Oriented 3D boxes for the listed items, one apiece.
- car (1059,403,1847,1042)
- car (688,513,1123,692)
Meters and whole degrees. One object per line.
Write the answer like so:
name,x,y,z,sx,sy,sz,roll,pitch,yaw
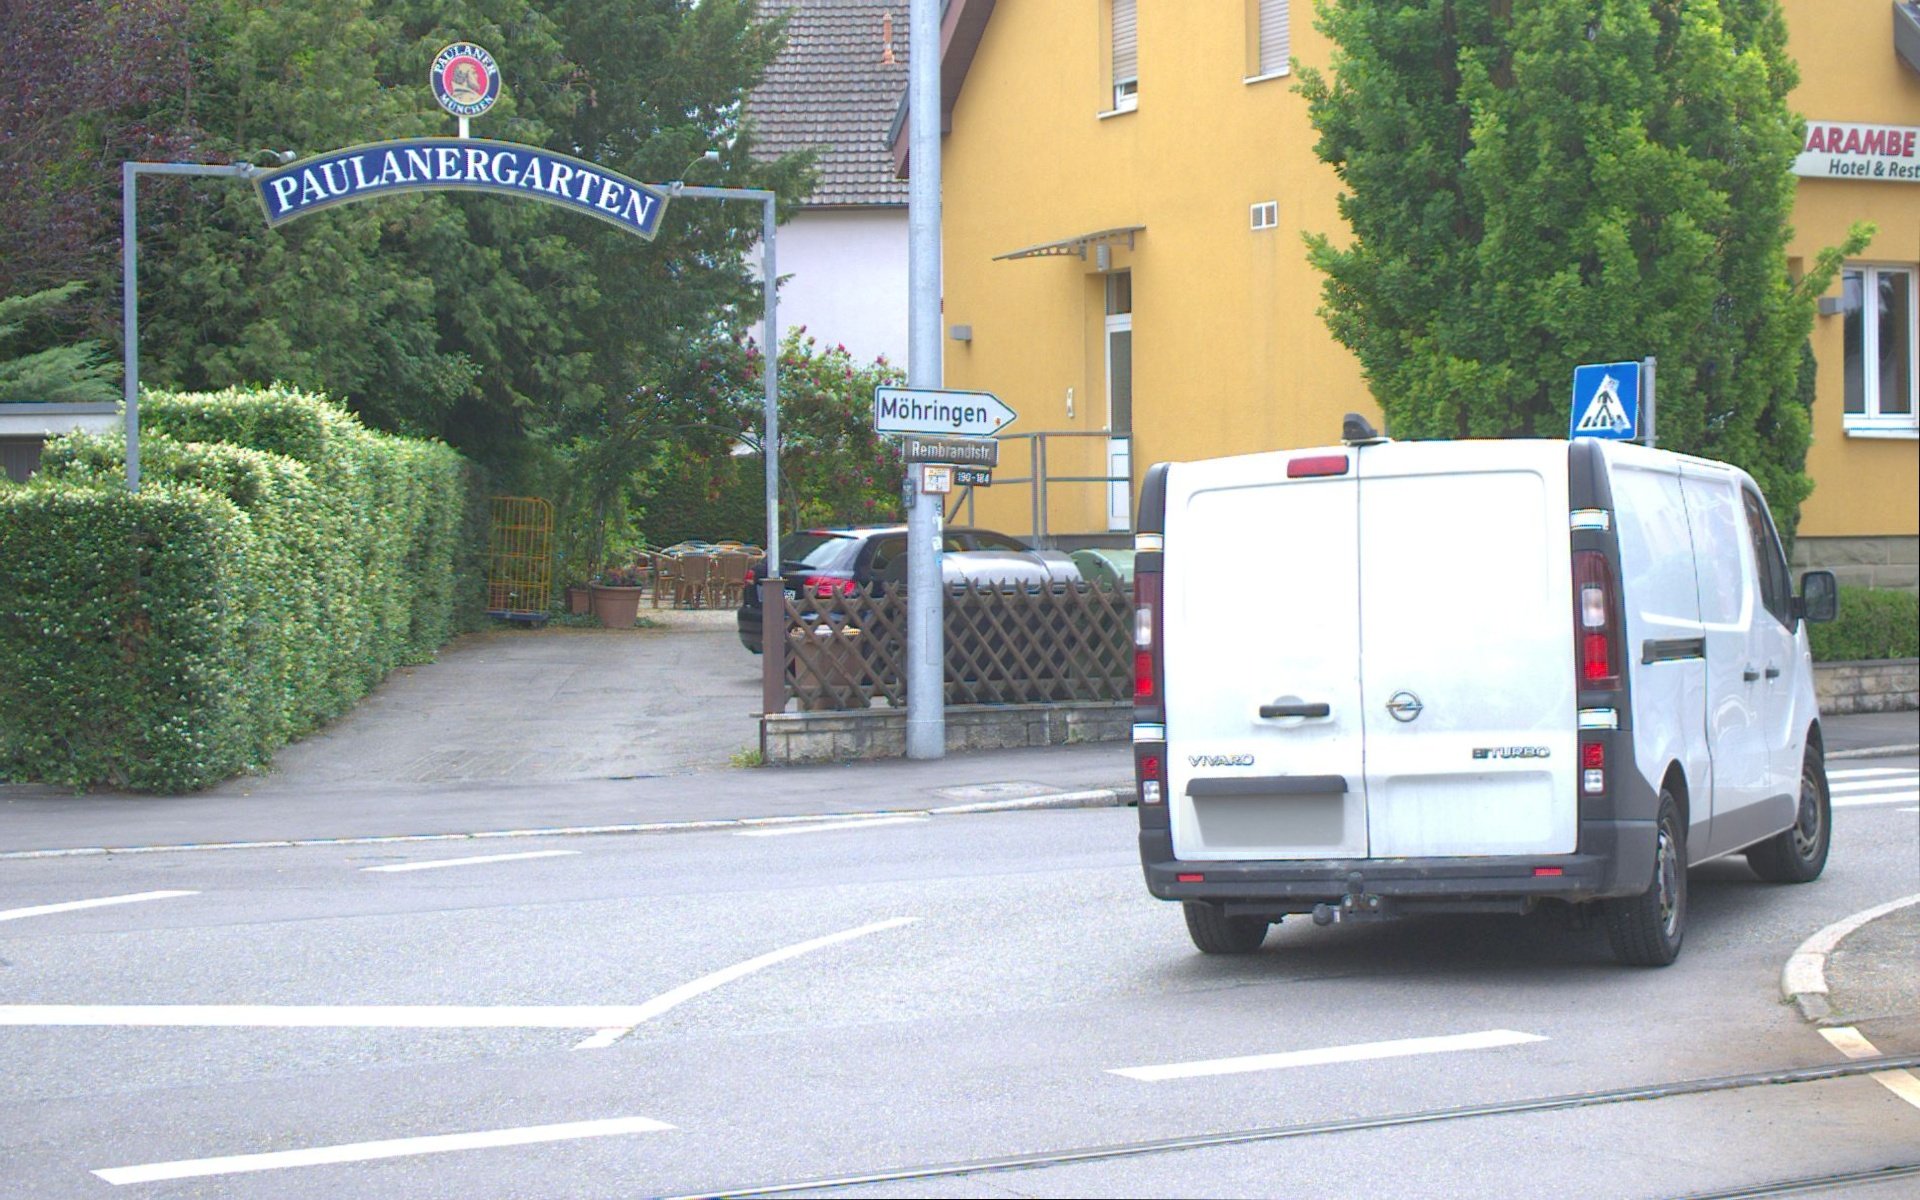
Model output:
car,2.302,0.325,14.342,2.119,2.127,5.435,1,2,21
car,-0.487,-0.023,31.756,3.668,1.422,1.727,-3,5,-34
